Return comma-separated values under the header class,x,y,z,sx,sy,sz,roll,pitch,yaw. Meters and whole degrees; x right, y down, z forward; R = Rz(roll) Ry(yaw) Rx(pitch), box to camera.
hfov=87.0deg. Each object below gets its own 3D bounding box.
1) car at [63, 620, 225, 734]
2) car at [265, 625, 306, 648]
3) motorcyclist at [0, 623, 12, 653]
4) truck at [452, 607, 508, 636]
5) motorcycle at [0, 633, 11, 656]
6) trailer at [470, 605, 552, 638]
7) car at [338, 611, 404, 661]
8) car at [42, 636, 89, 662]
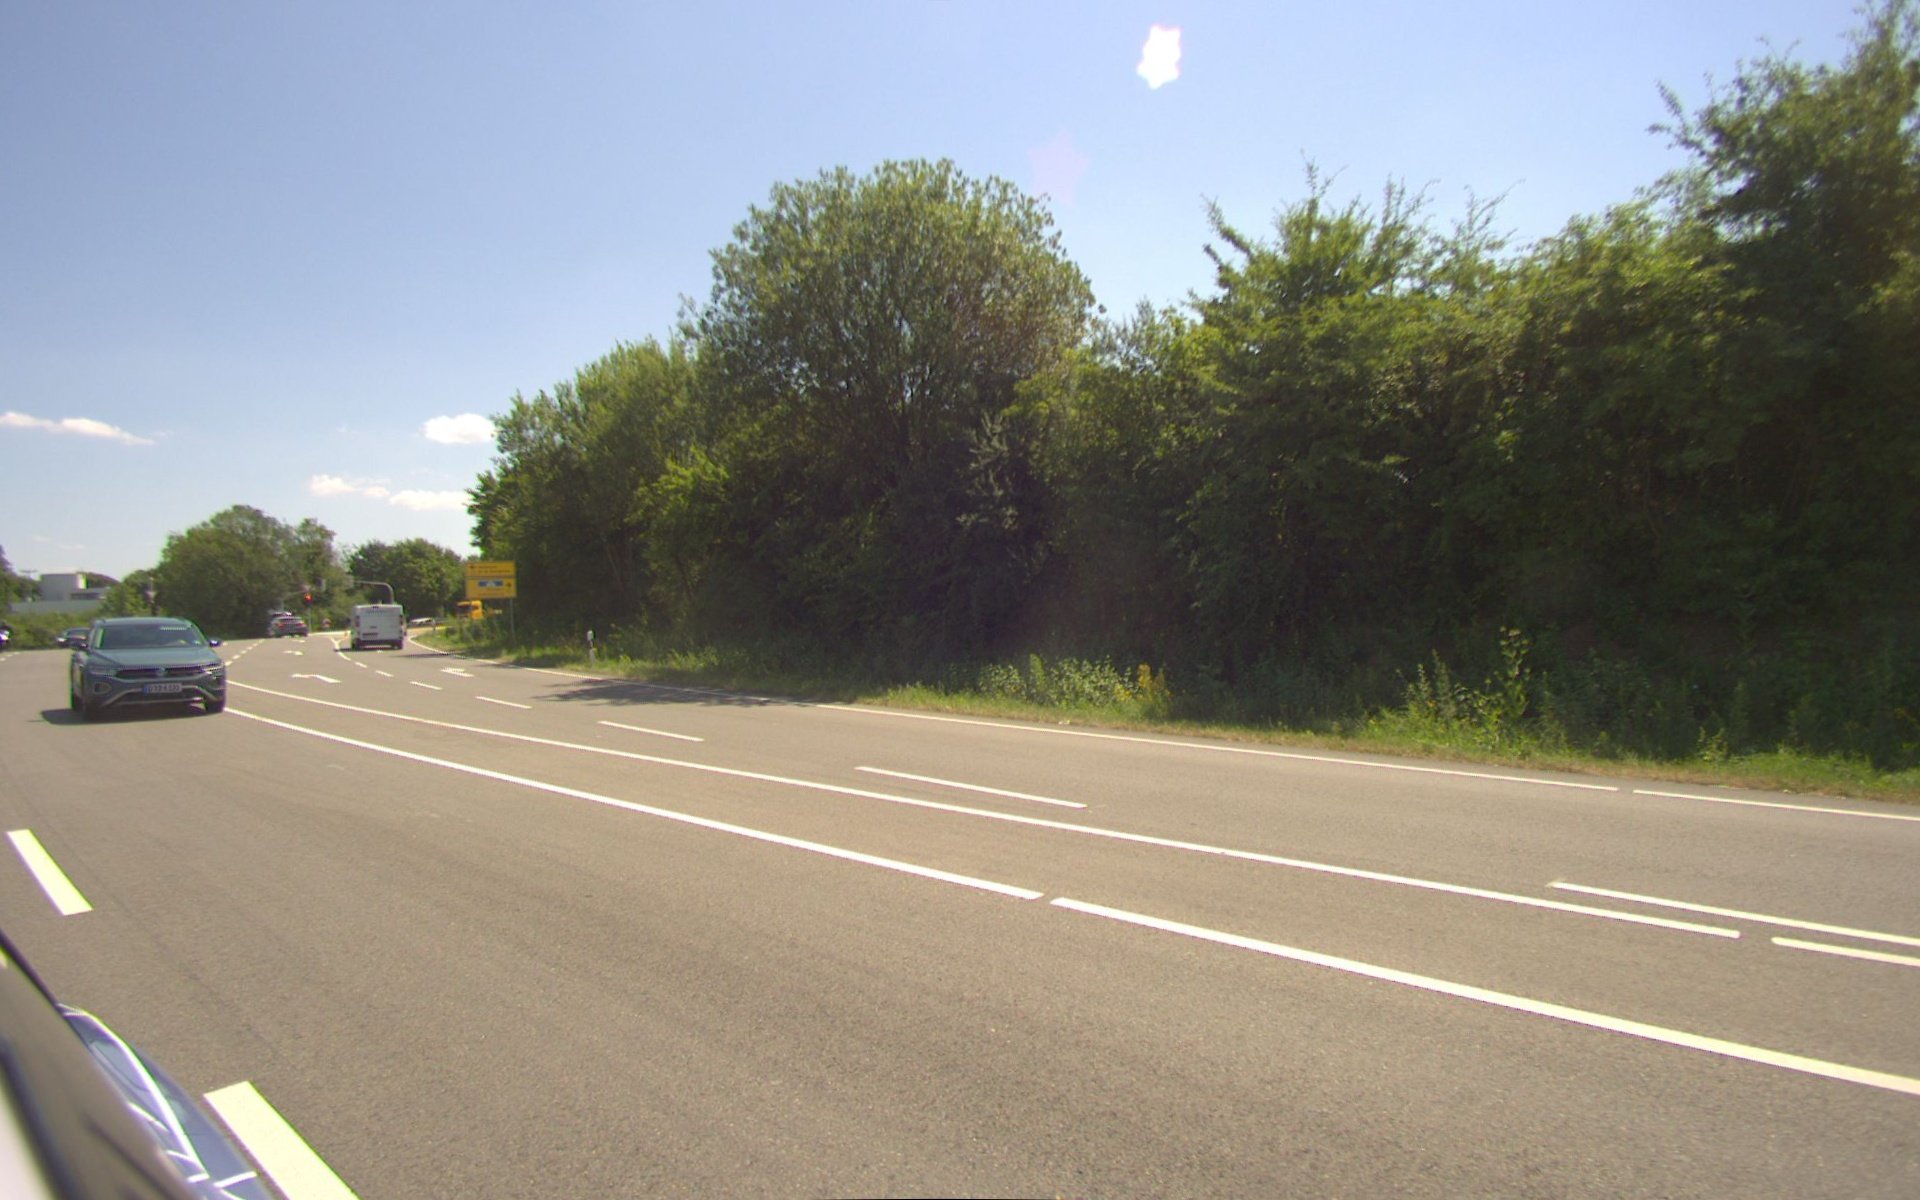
class,x,y,z,sx,sy,sz,roll,pitch,yaw
car,-13.600,1.170,16.761,1.813,1.598,4.396,0,-1,-43
car,-48.617,2.658,72.905,1.969,1.449,4.228,-3,-1,-40
motorcyclist,-48.432,1.899,51.060,0.848,1.500,1.162,1,-3,-45
truck,-64.357,2.793,135.939,2.959,3.564,6.822,-4,-1,16
motorcycle,-48.434,2.240,51.081,0.724,1.147,2.073,2,-4,-45
trailer,-62.800,2.897,142.104,3.044,4.093,13.112,-4,0,14
car,-26.605,1.593,45.588,2.048,2.029,5.821,-1,-1,-35
car,-60.223,3.288,68.214,2.085,1.603,4.460,0,-1,-37
